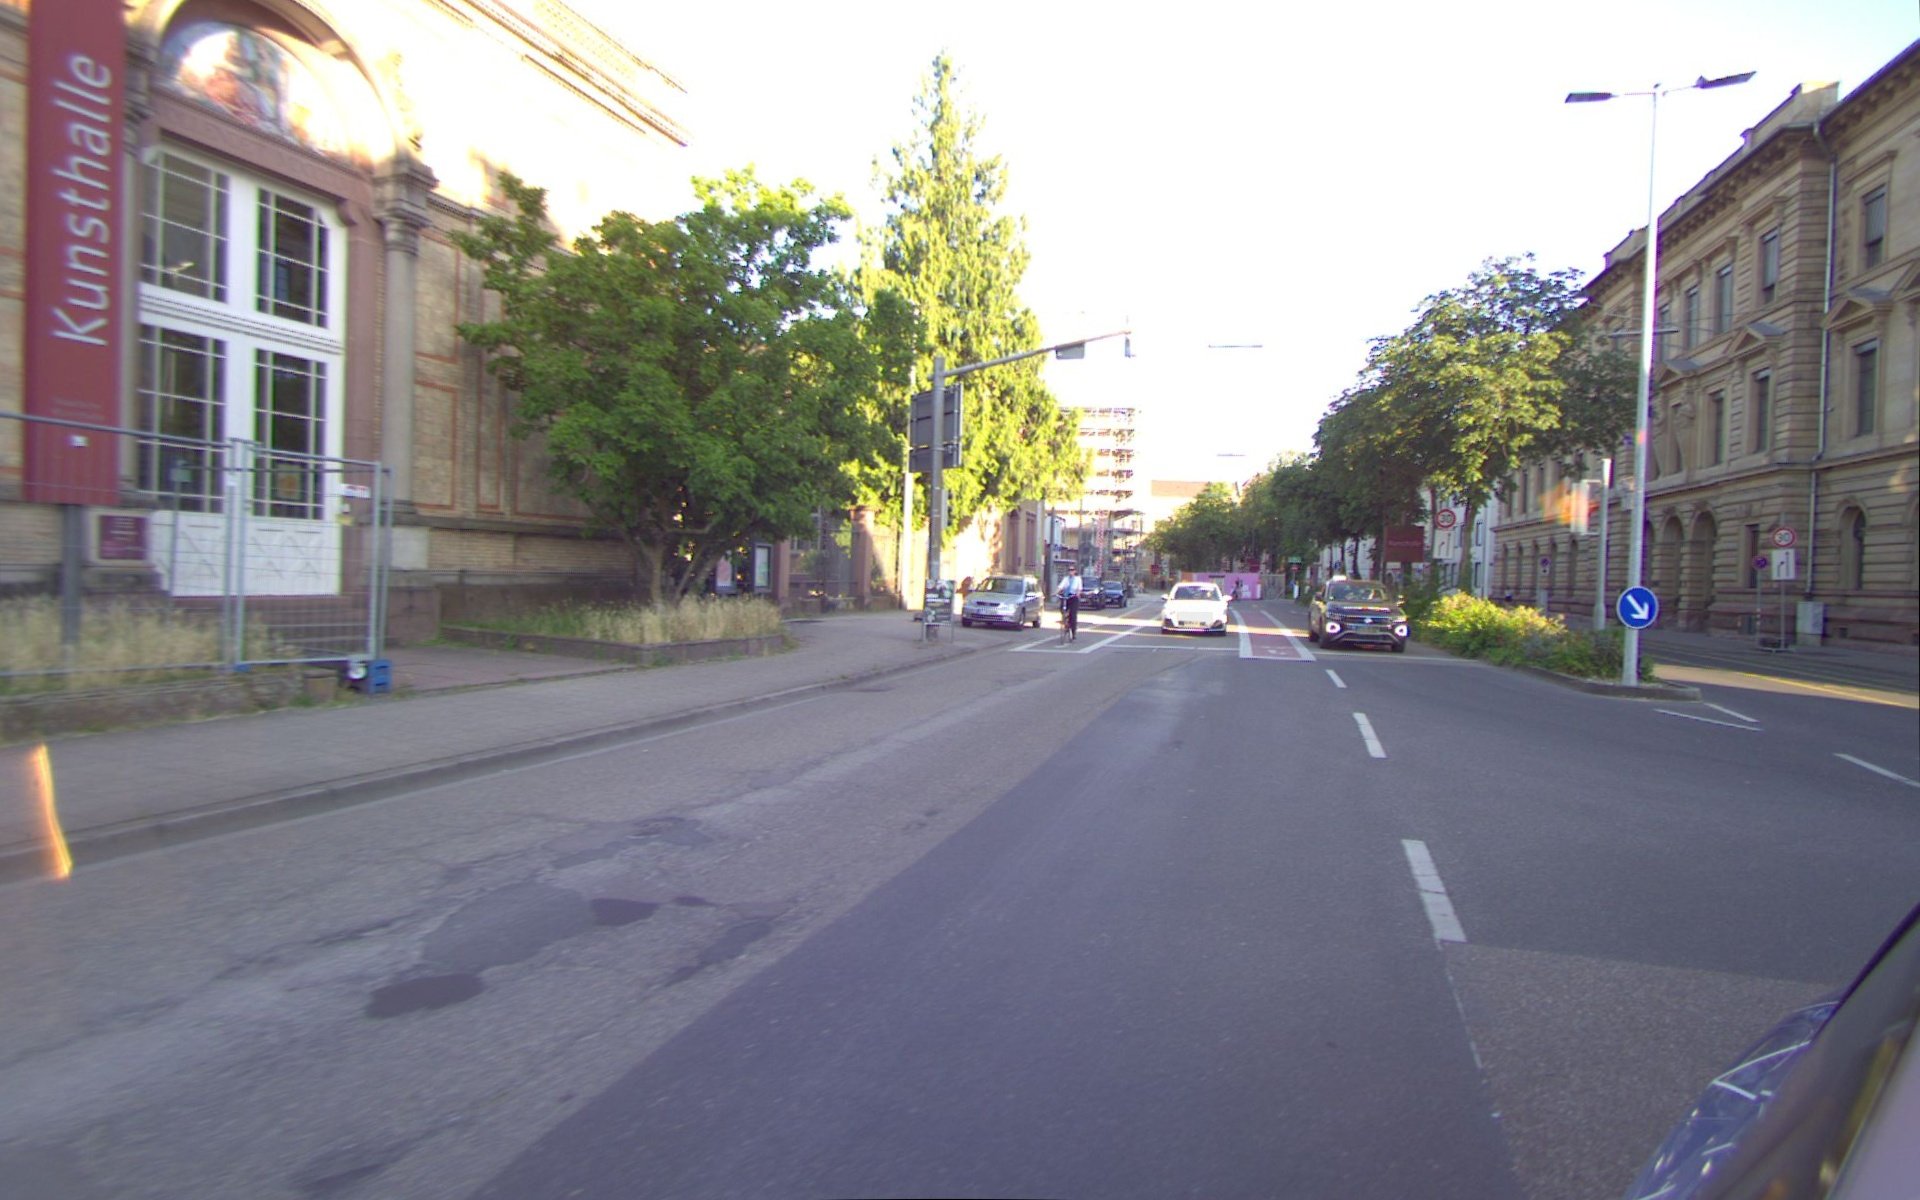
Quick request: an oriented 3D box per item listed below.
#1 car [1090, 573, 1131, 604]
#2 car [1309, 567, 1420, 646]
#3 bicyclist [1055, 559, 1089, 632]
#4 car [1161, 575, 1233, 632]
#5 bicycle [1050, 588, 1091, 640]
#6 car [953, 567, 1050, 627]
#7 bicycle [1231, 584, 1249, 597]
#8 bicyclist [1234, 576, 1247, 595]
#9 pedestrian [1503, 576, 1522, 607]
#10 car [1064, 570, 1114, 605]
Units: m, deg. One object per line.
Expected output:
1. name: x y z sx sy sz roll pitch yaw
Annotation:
1. car: 7.859 -0.626 52.579 1.664 1.510 4.059 1 2 14
2. car: 9.201 0.070 23.312 1.808 1.632 4.059 1 2 14
3. bicyclist: 2.577 -0.114 23.193 0.659 1.664 0.516 0 1 23
4. car: 6.662 0.033 28.316 1.808 1.408 4.005 1 2 14
5. bicycle: 2.527 0.291 23.026 0.490 1.114 1.655 0 2 23
6. car: 1.237 -0.143 28.007 1.691 1.462 4.178 2 2 16
7. bicycle: 19.153 -0.657 69.215 0.587 0.850 1.725 3 2 35
8. bicyclist: 19.167 -1.007 69.191 0.587 1.238 0.787 3 2 36
9. pedestrian: 34.169 -0.523 62.578 0.764 1.875 0.808 2 2 16
10. car: 6.065 -0.600 47.085 1.808 1.510 4.059 1 2 14
